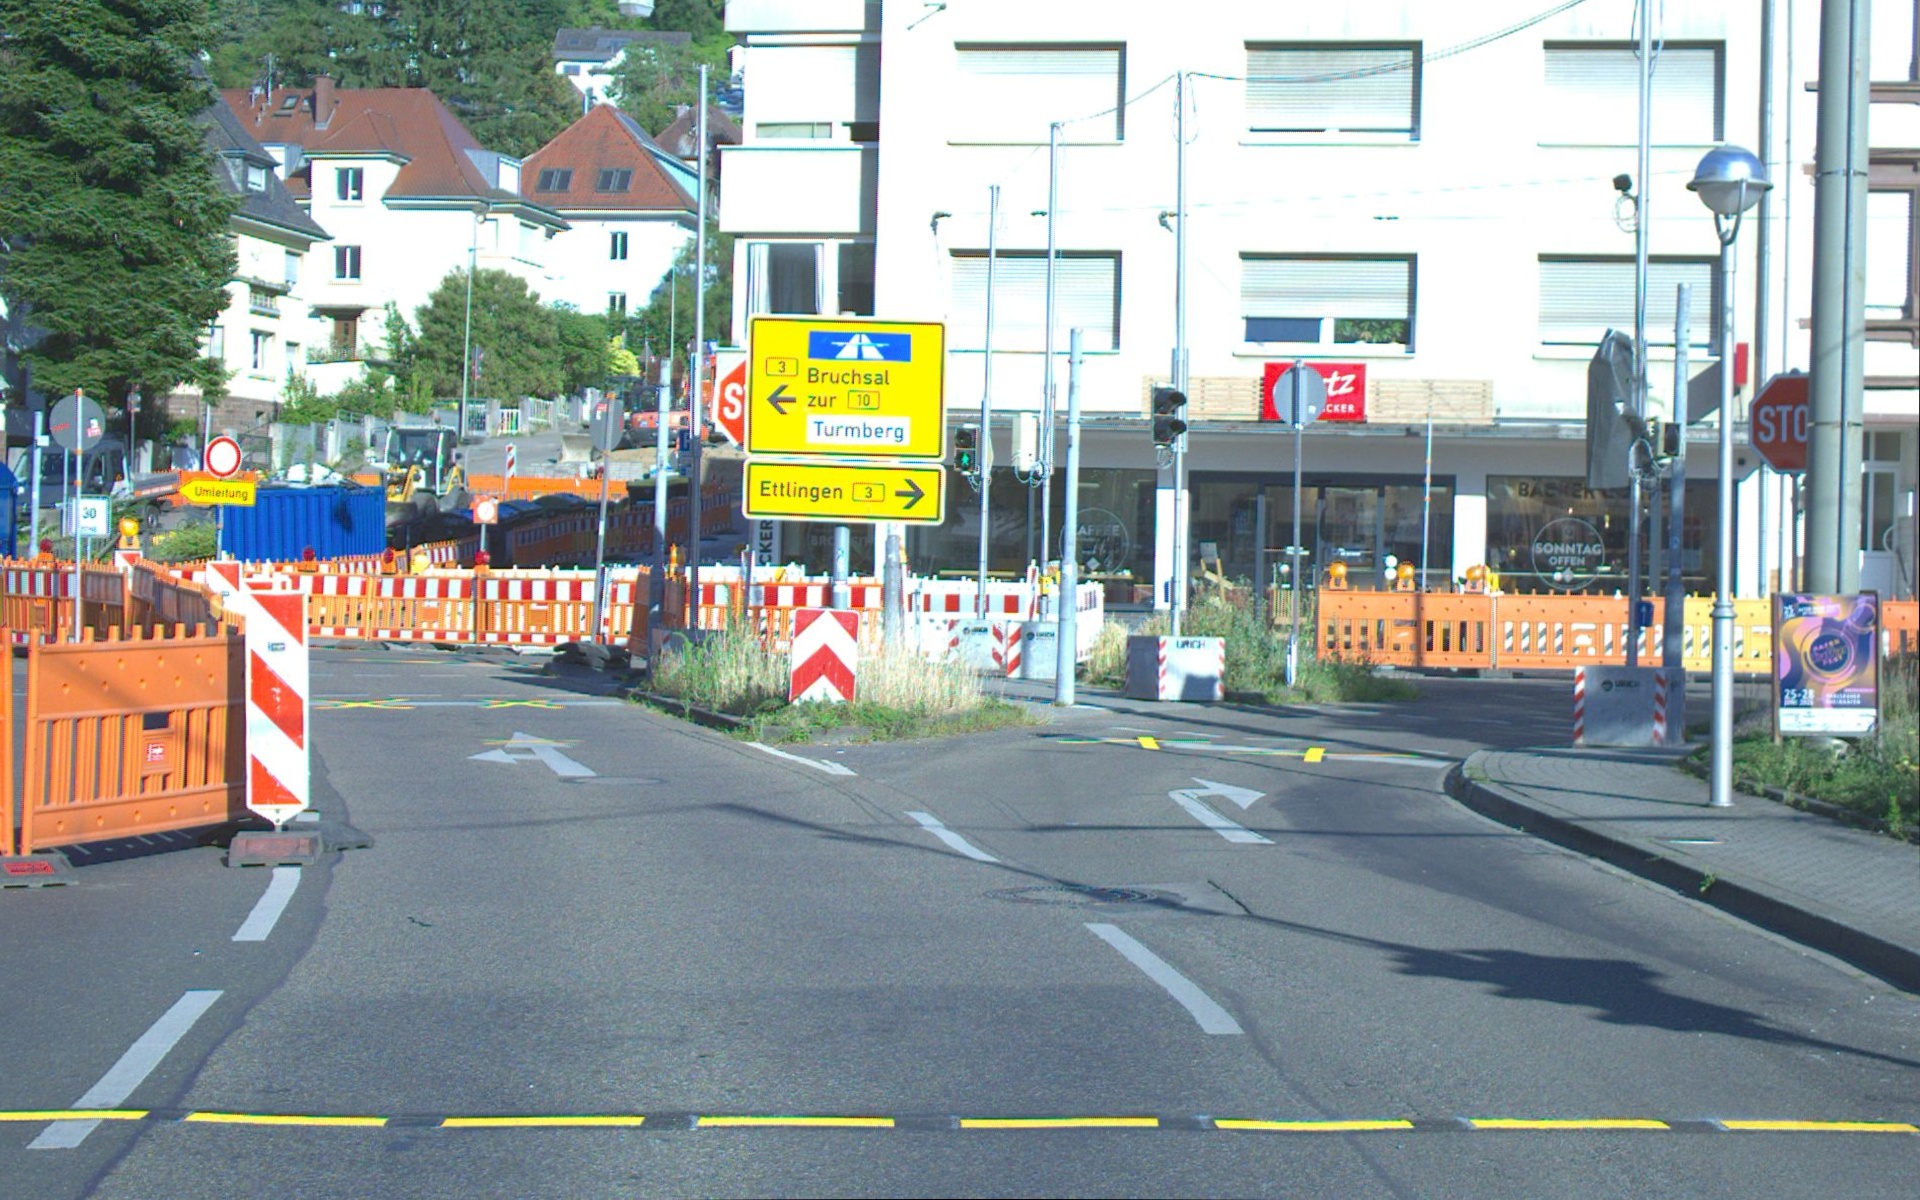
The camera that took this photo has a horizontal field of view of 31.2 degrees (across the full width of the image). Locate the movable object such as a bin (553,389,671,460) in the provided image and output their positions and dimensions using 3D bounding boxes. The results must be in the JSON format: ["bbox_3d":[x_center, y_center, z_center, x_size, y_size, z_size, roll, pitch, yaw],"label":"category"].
[{"bbox_3d":[-11.586,-5.834,114.848,2.566,2.114,5.782,1,1,8],"label":"movable object such as a bin"}]

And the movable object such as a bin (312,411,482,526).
[{"bbox_3d":[-12.885,-2.986,78.953,1.950,2.486,4.547,1,1,18],"label":"movable object such as a bin"}]

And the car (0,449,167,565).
[{"bbox_3d":[-18.012,-1.752,66.143,2.585,2.113,6.145,1,1,18],"label":"car"}]
